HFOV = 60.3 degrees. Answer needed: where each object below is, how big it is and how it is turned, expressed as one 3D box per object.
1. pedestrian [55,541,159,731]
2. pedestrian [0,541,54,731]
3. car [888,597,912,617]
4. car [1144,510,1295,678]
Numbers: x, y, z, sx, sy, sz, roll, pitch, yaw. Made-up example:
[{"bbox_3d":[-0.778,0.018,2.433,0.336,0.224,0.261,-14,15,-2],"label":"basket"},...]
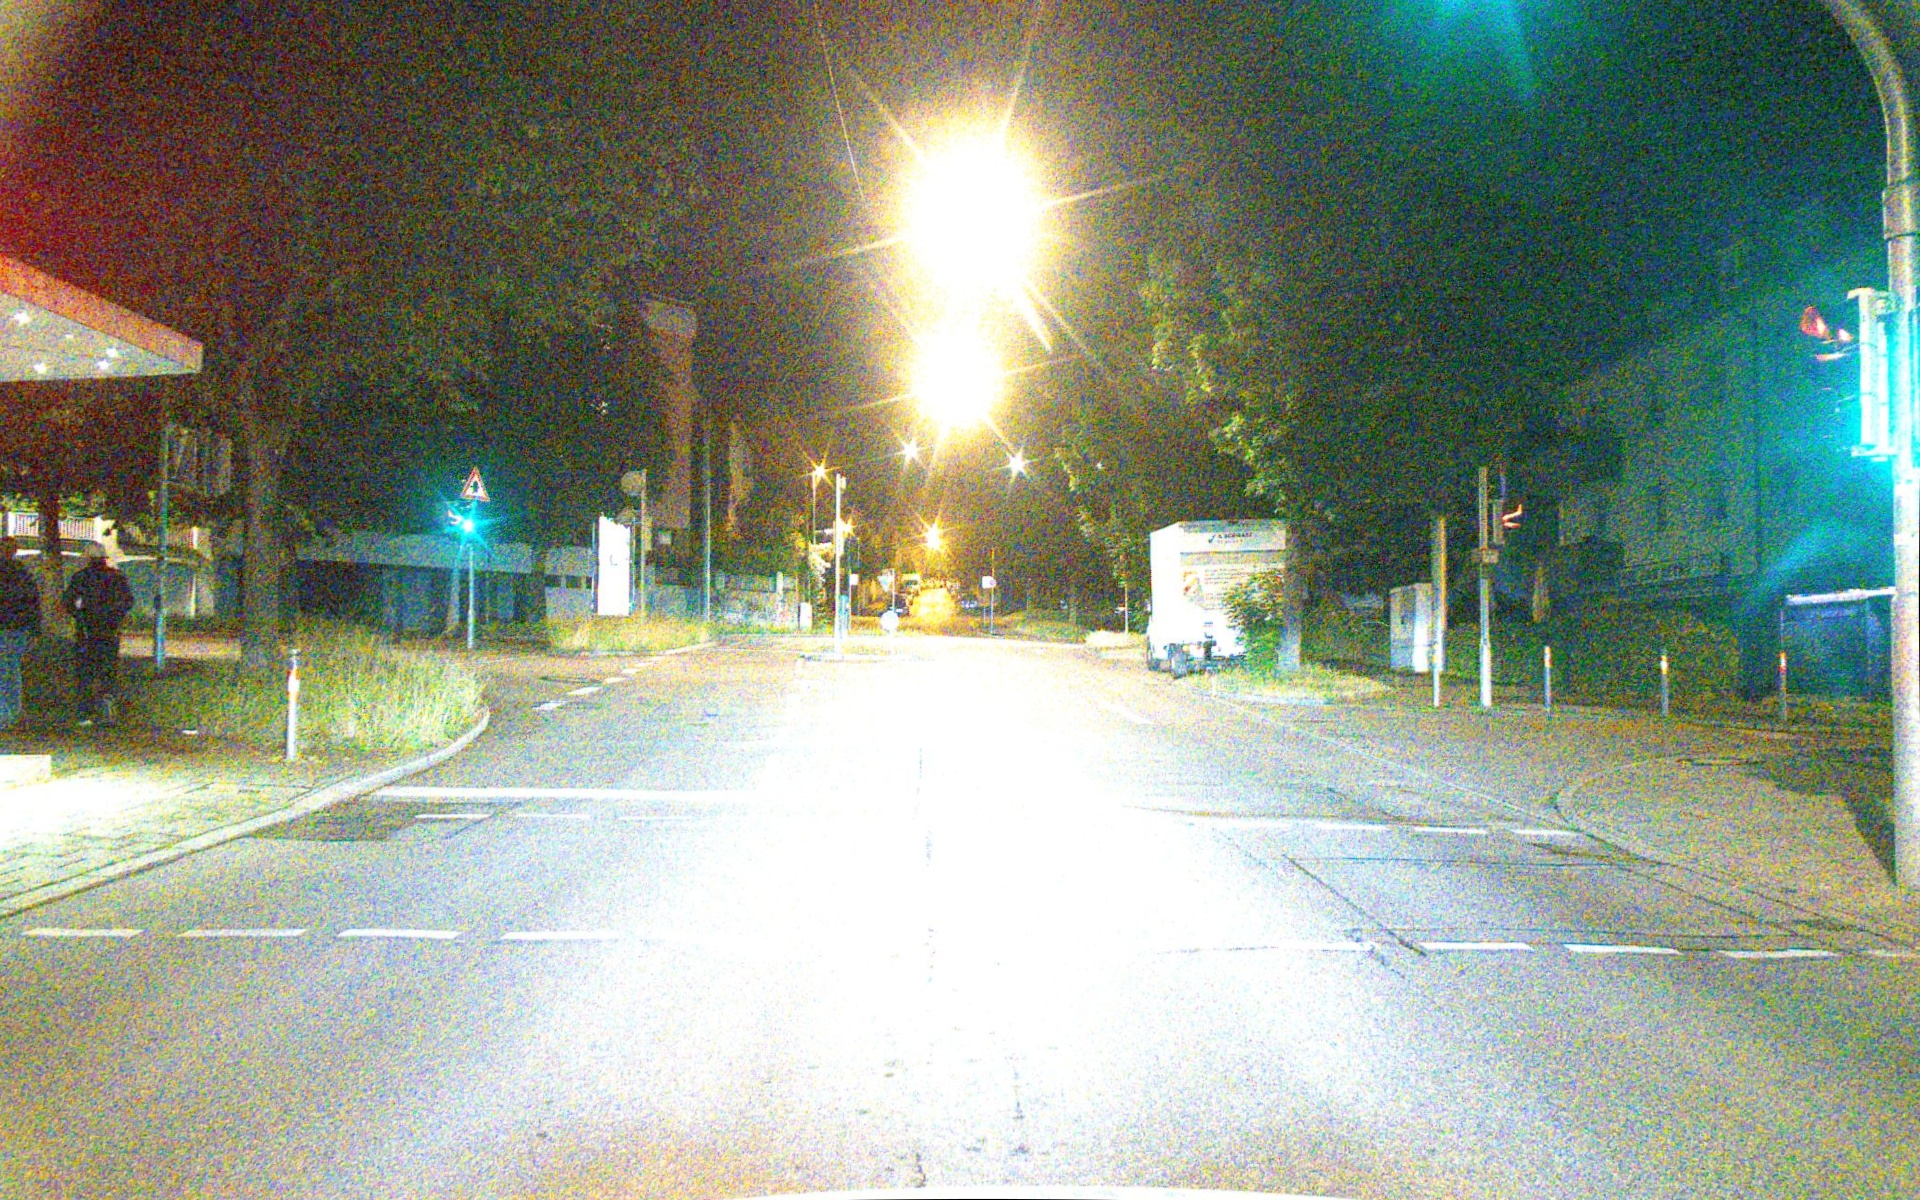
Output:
[{"bbox_3d":[-8.391,0.348,16.291,0.558,1.808,0.737,3,-1,-1],"label":"pedestrian"},{"bbox_3d":[-9.017,0.336,15.638,0.558,1.761,0.543,1,-1,-1],"label":"pedestrian"},{"bbox_3d":[-4.847,0.537,134.255,1.869,1.585,3.903,1,0,-1],"label":"car"},{"bbox_3d":[5.254,-0.108,34.327,2.249,3.147,5.840,-1,0,1],"label":"car"}]
